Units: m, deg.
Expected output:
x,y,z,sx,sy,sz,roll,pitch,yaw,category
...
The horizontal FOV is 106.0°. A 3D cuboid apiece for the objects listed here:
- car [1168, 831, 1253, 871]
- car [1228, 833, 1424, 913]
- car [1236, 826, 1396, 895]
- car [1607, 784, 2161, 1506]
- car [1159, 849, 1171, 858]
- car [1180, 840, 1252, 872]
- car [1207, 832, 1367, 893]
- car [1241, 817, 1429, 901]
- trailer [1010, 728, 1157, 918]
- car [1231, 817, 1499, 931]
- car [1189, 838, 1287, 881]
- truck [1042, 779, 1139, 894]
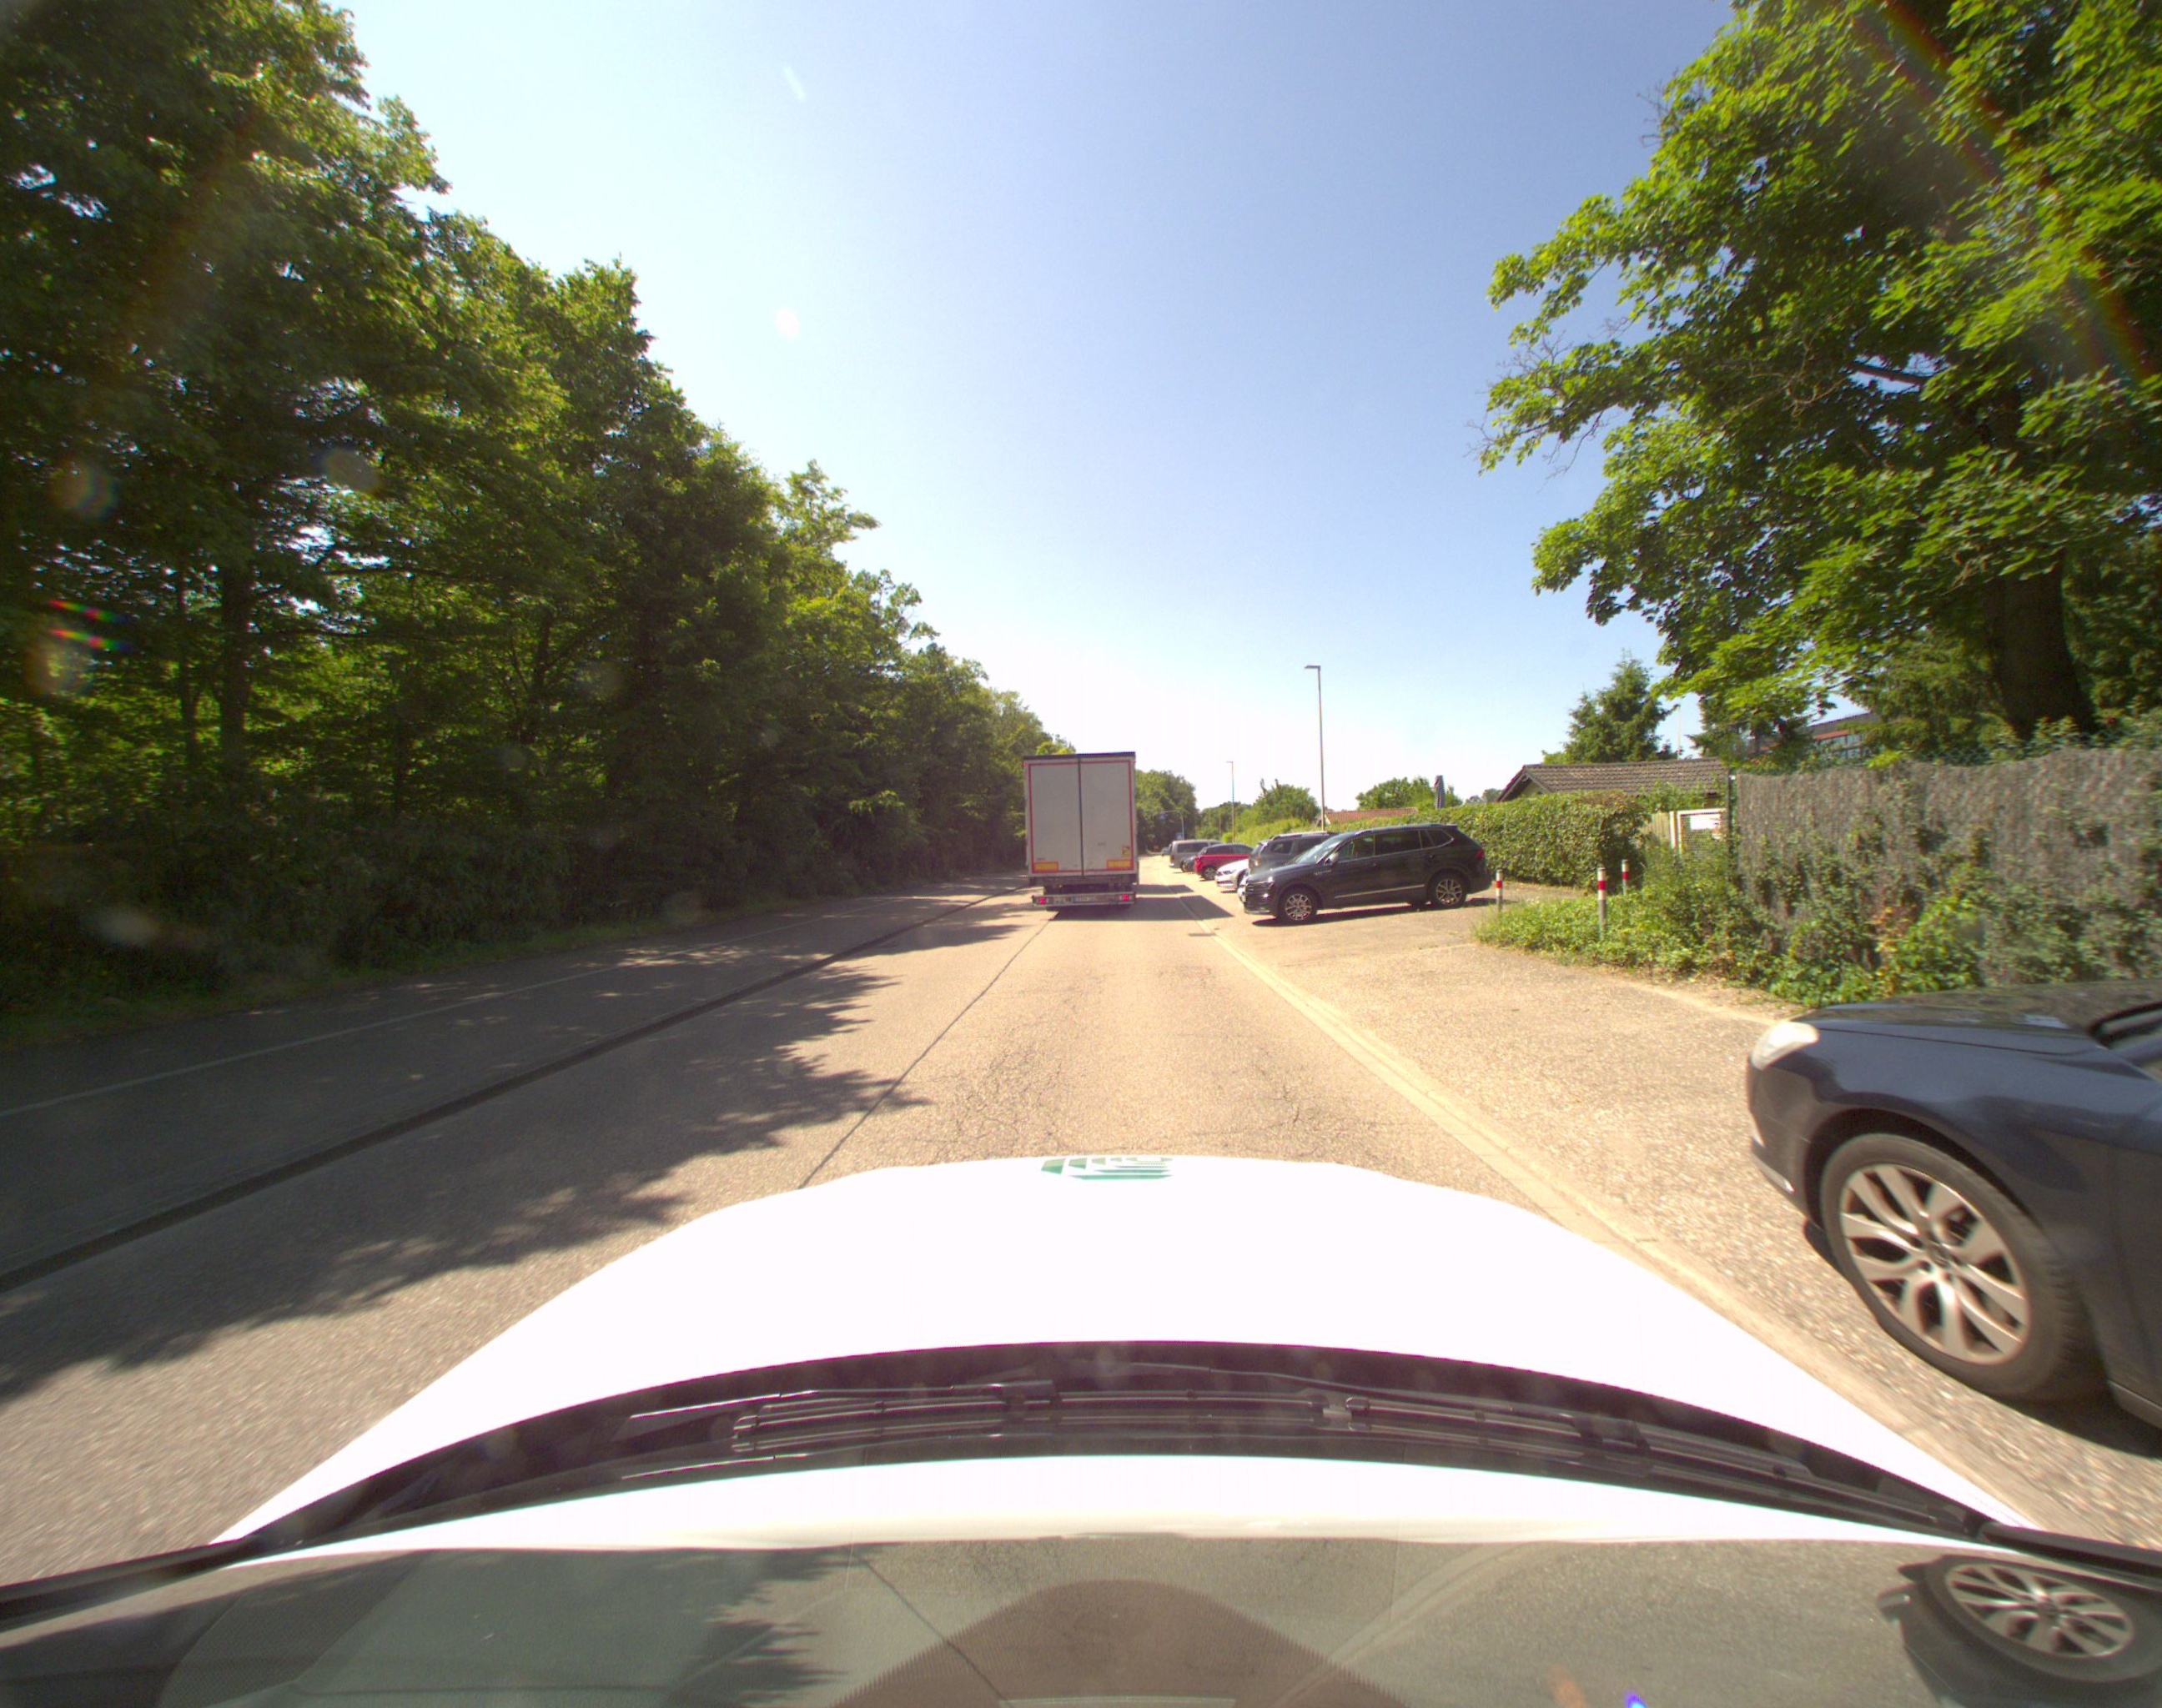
x,y,z,sx,sy,sz,roll,pitch,yaw,category
7.425,-0.162,47.129,4.599,1.848,1.999,-5,0,5,car
5.468,0.417,18.642,3.974,1.452,1.836,-5,0,8,car
6.688,0.168,23.462,4.035,1.548,1.758,-5,0,1,car
3.111,0.572,1.058,1.783,1.481,4.665,-5,0,1,car
13.466,-0.084,130.566,1.772,1.486,4.007,-1,0,6,car
7.274,0.108,44.144,3.565,1.502,1.841,-3,0,-1,car
6.467,0.256,25.933,4.543,1.439,1.961,-5,0,0,car
6.434,0.114,21.039,4.238,1.698,1.856,-5,0,4,car
0.222,-0.711,24.040,3.101,4.102,11.540,-3,0,2,trailer
5.378,0.362,15.887,4.454,1.704,1.914,-5,0,1,car
6.755,0.212,35.366,3.902,1.478,1.847,-5,0,4,car
0.426,-0.598,30.350,3.102,3.725,6.416,-2,0,2,truck
